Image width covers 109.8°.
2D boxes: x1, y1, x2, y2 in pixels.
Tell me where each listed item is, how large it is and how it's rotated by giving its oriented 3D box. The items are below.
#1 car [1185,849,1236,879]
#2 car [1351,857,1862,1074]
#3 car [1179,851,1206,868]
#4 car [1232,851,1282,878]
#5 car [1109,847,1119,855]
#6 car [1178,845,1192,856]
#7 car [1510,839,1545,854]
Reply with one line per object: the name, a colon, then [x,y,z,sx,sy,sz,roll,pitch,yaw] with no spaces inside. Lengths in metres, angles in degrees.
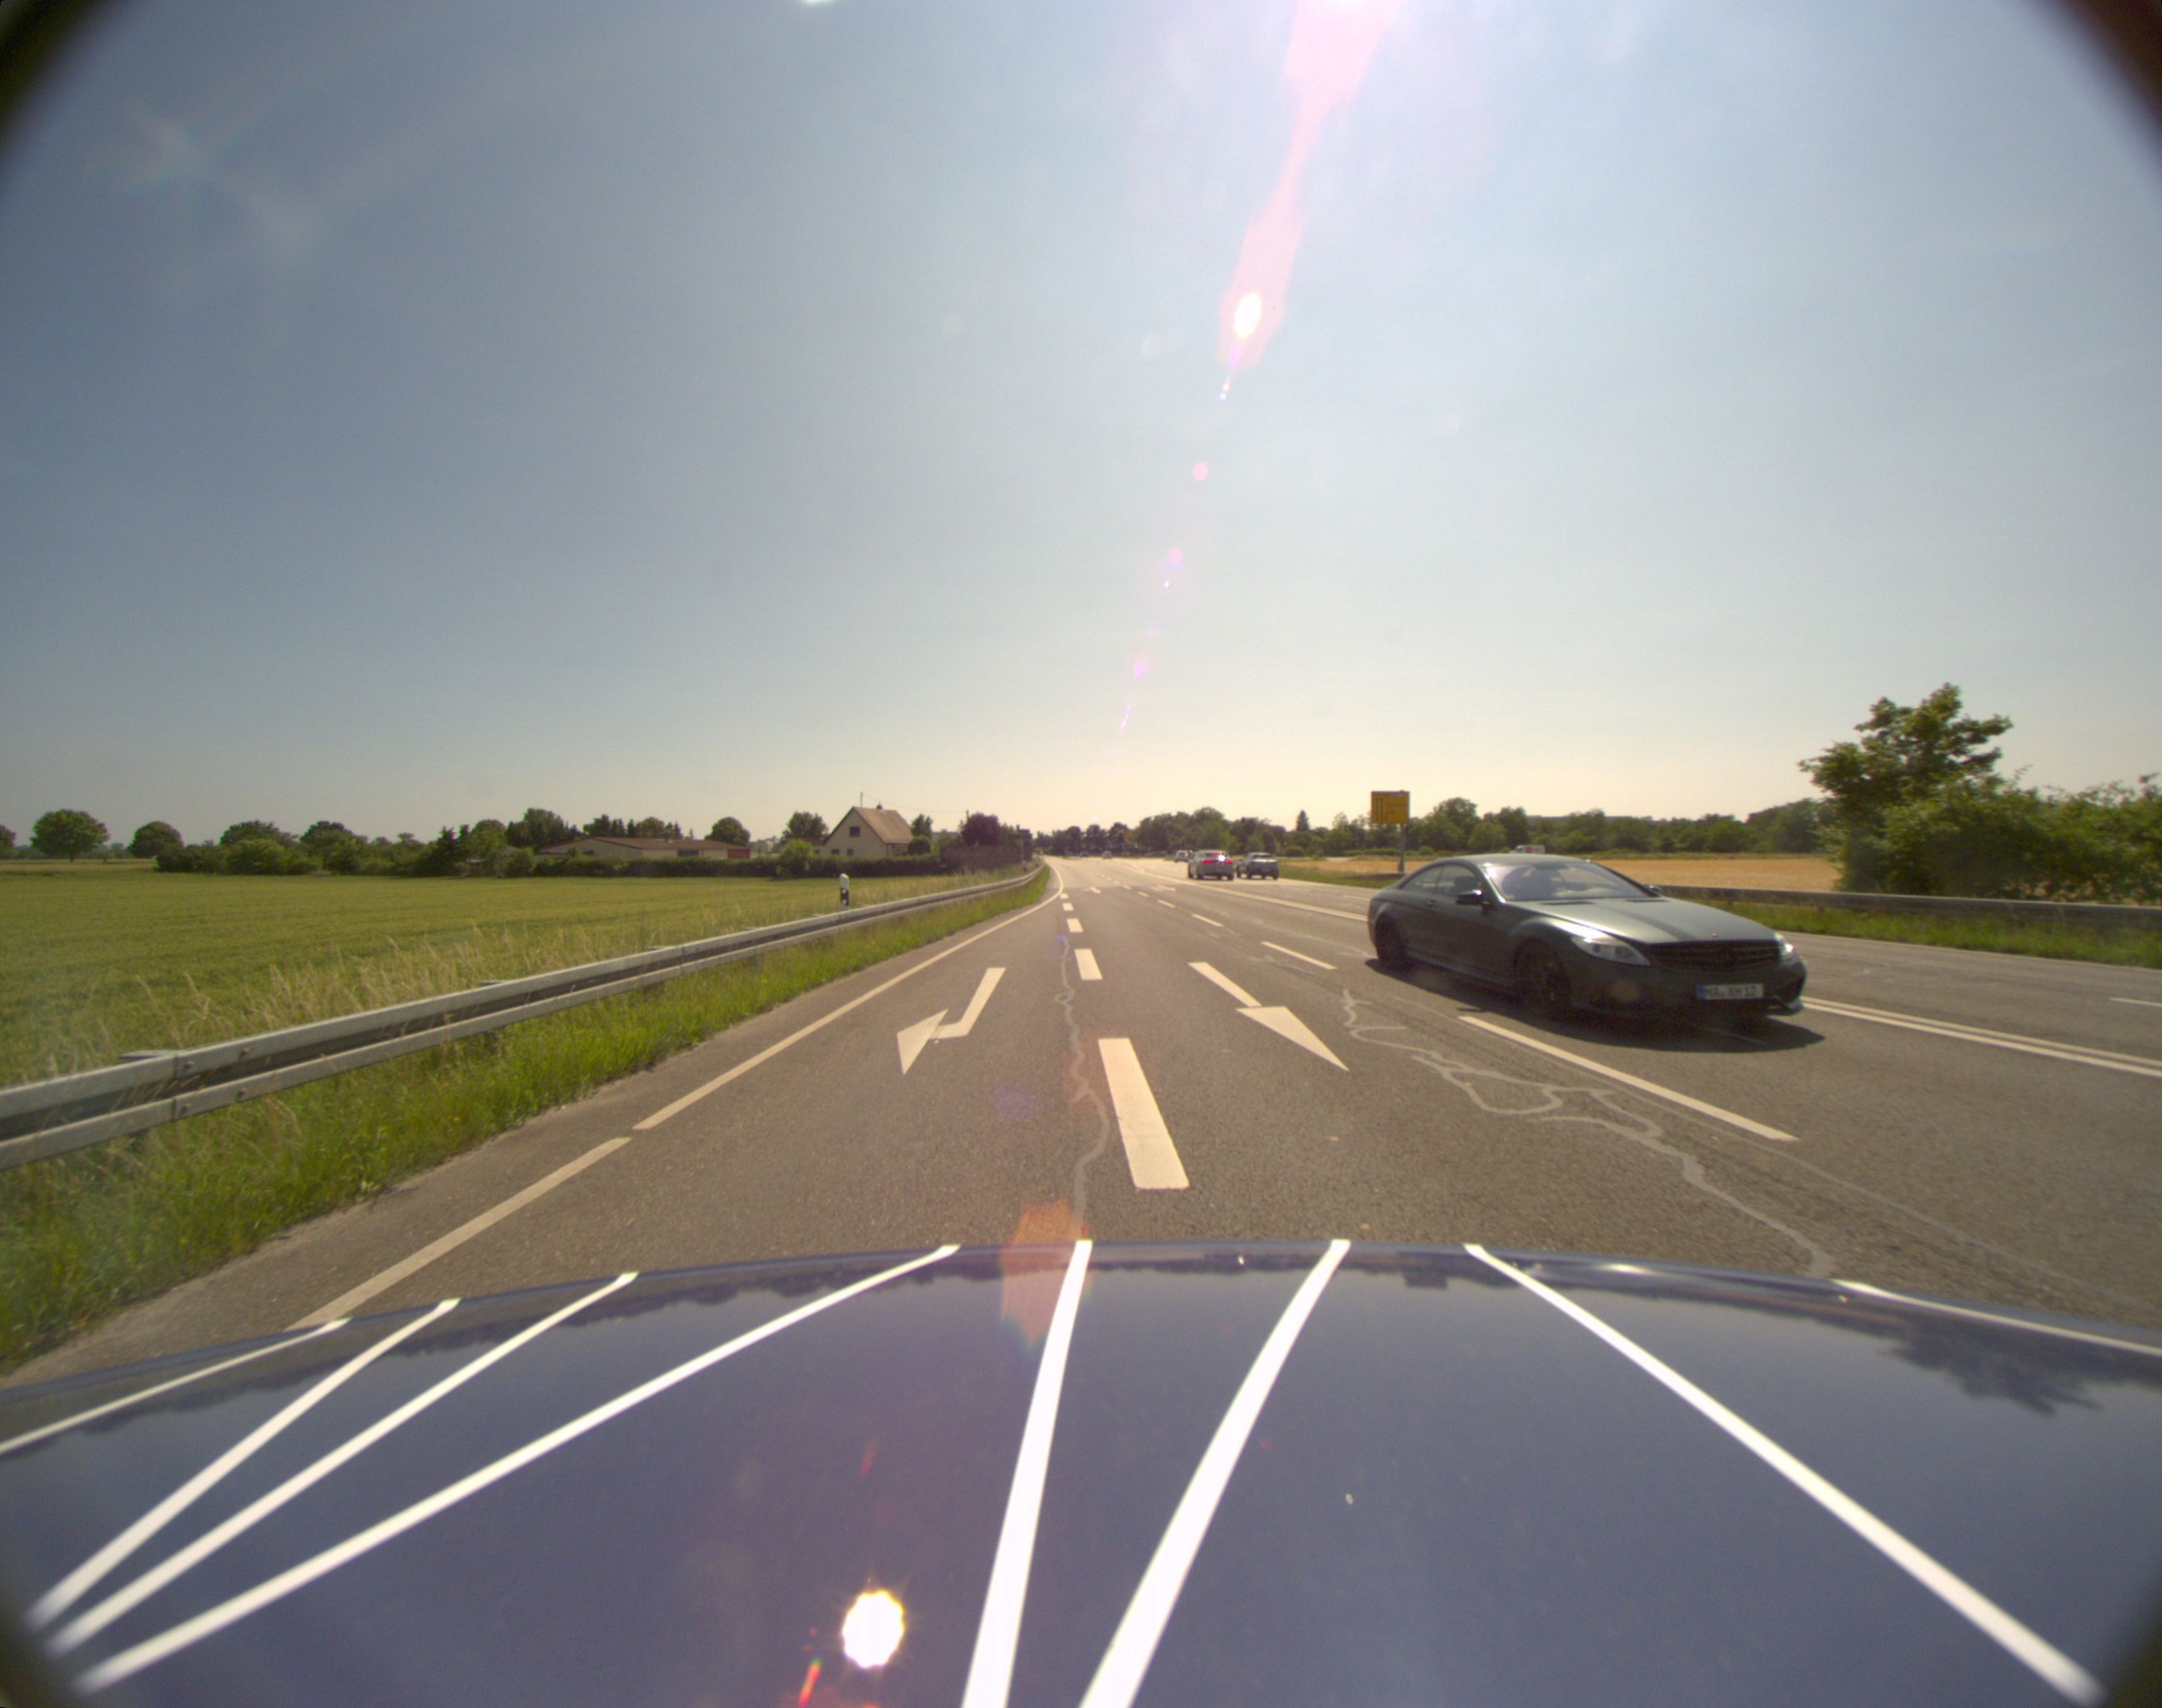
car: [7.282,0.523,43.222,1.845,1.578,4.874,2,0,-2]
car: [4.700,0.814,7.952,1.816,1.441,4.875,-2,1,-2]
car: [11.373,0.534,77.515,1.999,1.553,4.309,1,1,-2]
car: [10.542,0.600,45.722,1.824,1.499,4.125,1,0,-3]
car: [6.518,-0.574,149.205,1.753,1.434,4.082,-1,1,4]
car: [15.175,-0.516,111.399,1.669,1.667,4.463,1,0,3]
car: [98.357,-1.655,167.519,6.374,2.893,2.000,-2,2,6]
